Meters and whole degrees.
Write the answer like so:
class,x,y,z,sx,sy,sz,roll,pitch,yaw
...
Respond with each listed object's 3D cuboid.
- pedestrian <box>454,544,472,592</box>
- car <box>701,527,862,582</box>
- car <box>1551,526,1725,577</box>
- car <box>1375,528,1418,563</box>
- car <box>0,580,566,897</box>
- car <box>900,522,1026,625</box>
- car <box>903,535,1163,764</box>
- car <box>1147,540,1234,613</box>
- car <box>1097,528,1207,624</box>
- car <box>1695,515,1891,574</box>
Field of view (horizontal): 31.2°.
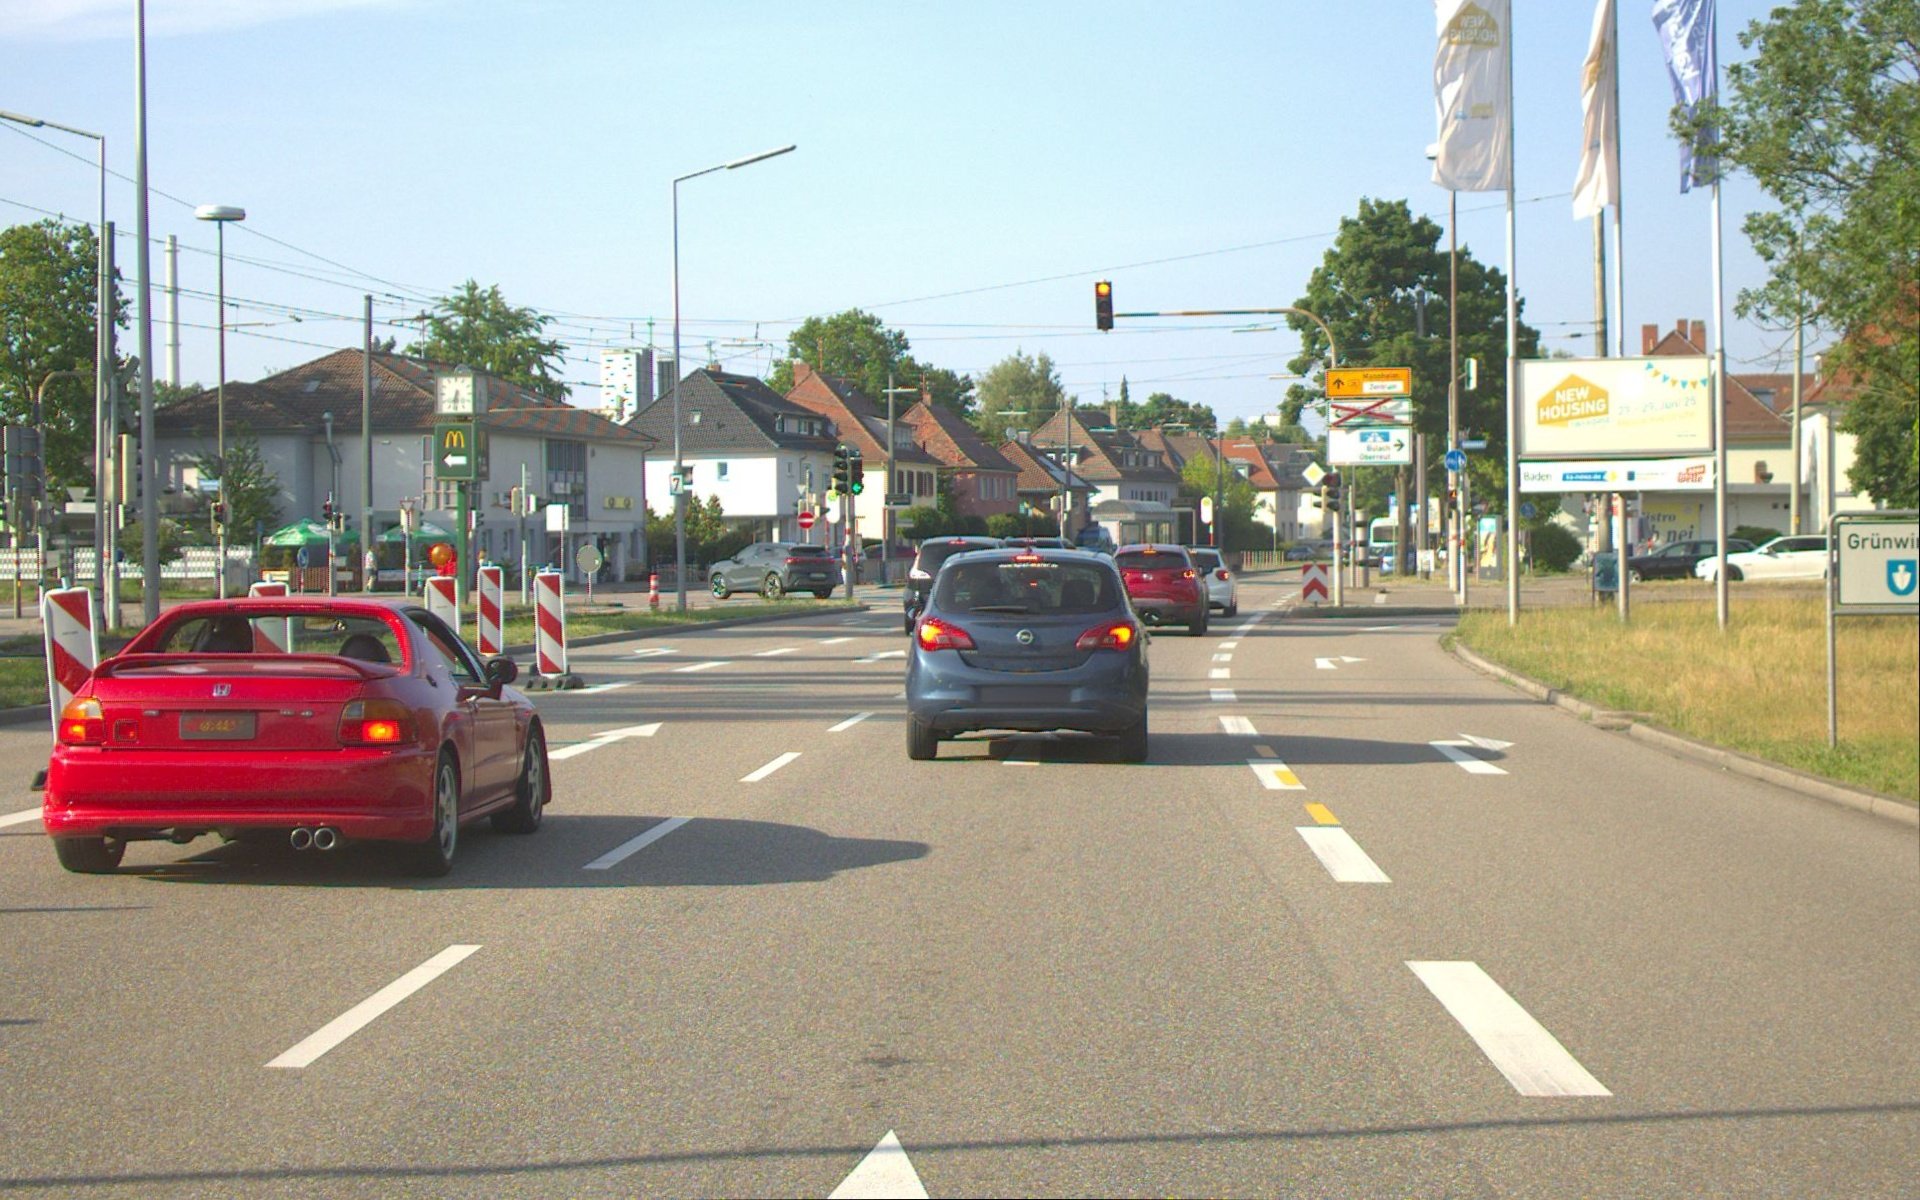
class,x,y,z,sx,sy,sz,roll,pitch,yaw
pedestrian,-16.814,-1.086,116.361,0.512,1.593,0.539,-1,1,2
car,-4.967,-1.268,95.685,3.992,1.481,1.997,0,1,25
car,19.543,-1.407,99.241,4.825,1.406,1.715,-1,1,9
car,18.331,-2.268,144.394,1.675,1.393,3.999,1,0,9
car,-3.026,0.560,16.128,1.731,1.202,3.847,1,1,3
car,0.089,-0.469,57.400,1.764,1.665,4.084,0,1,5
car,0.465,0.293,25.303,1.741,1.500,4.223,-1,1,-1
car,4.822,-0.503,71.663,1.656,1.438,4.013,-1,1,6
car,3.287,-0.430,58.327,1.706,1.546,3.977,-1,1,5
car,22.993,-1.537,95.037,5.096,1.557,1.839,-1,1,9
